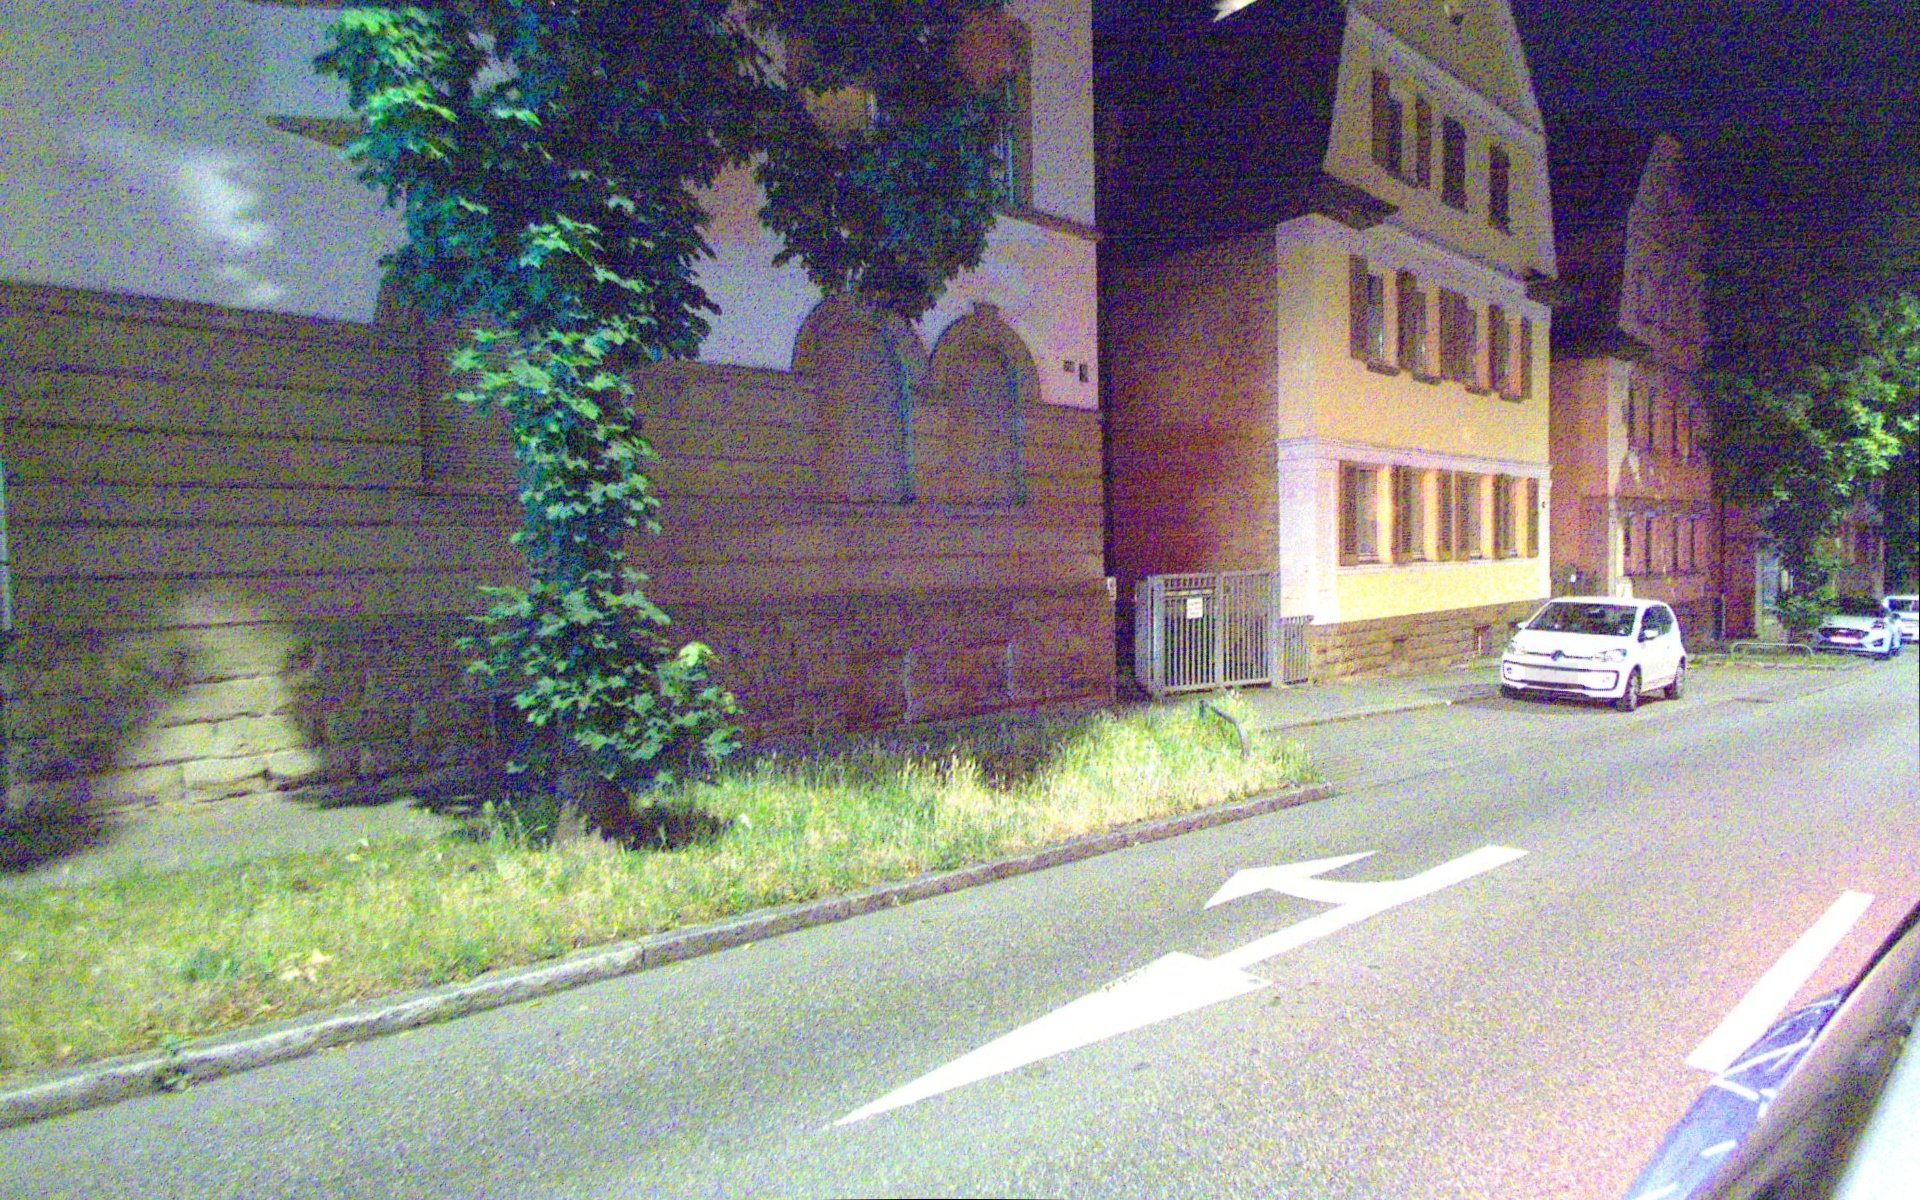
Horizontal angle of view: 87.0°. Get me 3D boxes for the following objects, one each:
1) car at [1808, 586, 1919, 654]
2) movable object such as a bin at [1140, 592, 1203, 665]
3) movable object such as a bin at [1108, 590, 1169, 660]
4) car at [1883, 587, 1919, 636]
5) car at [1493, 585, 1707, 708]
[{"bbox_3d":[23.809,0.472,26.578,3.977,1.572,1.862,0,3,-43],"label":"car"},{"bbox_3d":[3.186,0.418,15.266,0.742,1.062,0.608,0,0,-41],"label":"movable object such as a bin"},{"bbox_3d":[2.781,0.373,15.772,0.742,1.062,0.608,0,0,-41],"label":"movable object such as a bin"},{"bbox_3d":[33.792,0.391,35.348,4.281,1.616,1.742,0,3,-40],"label":"car"},{"bbox_3d":[9.326,0.578,14.657,3.541,1.503,1.671,0,2,-42],"label":"car"}]
